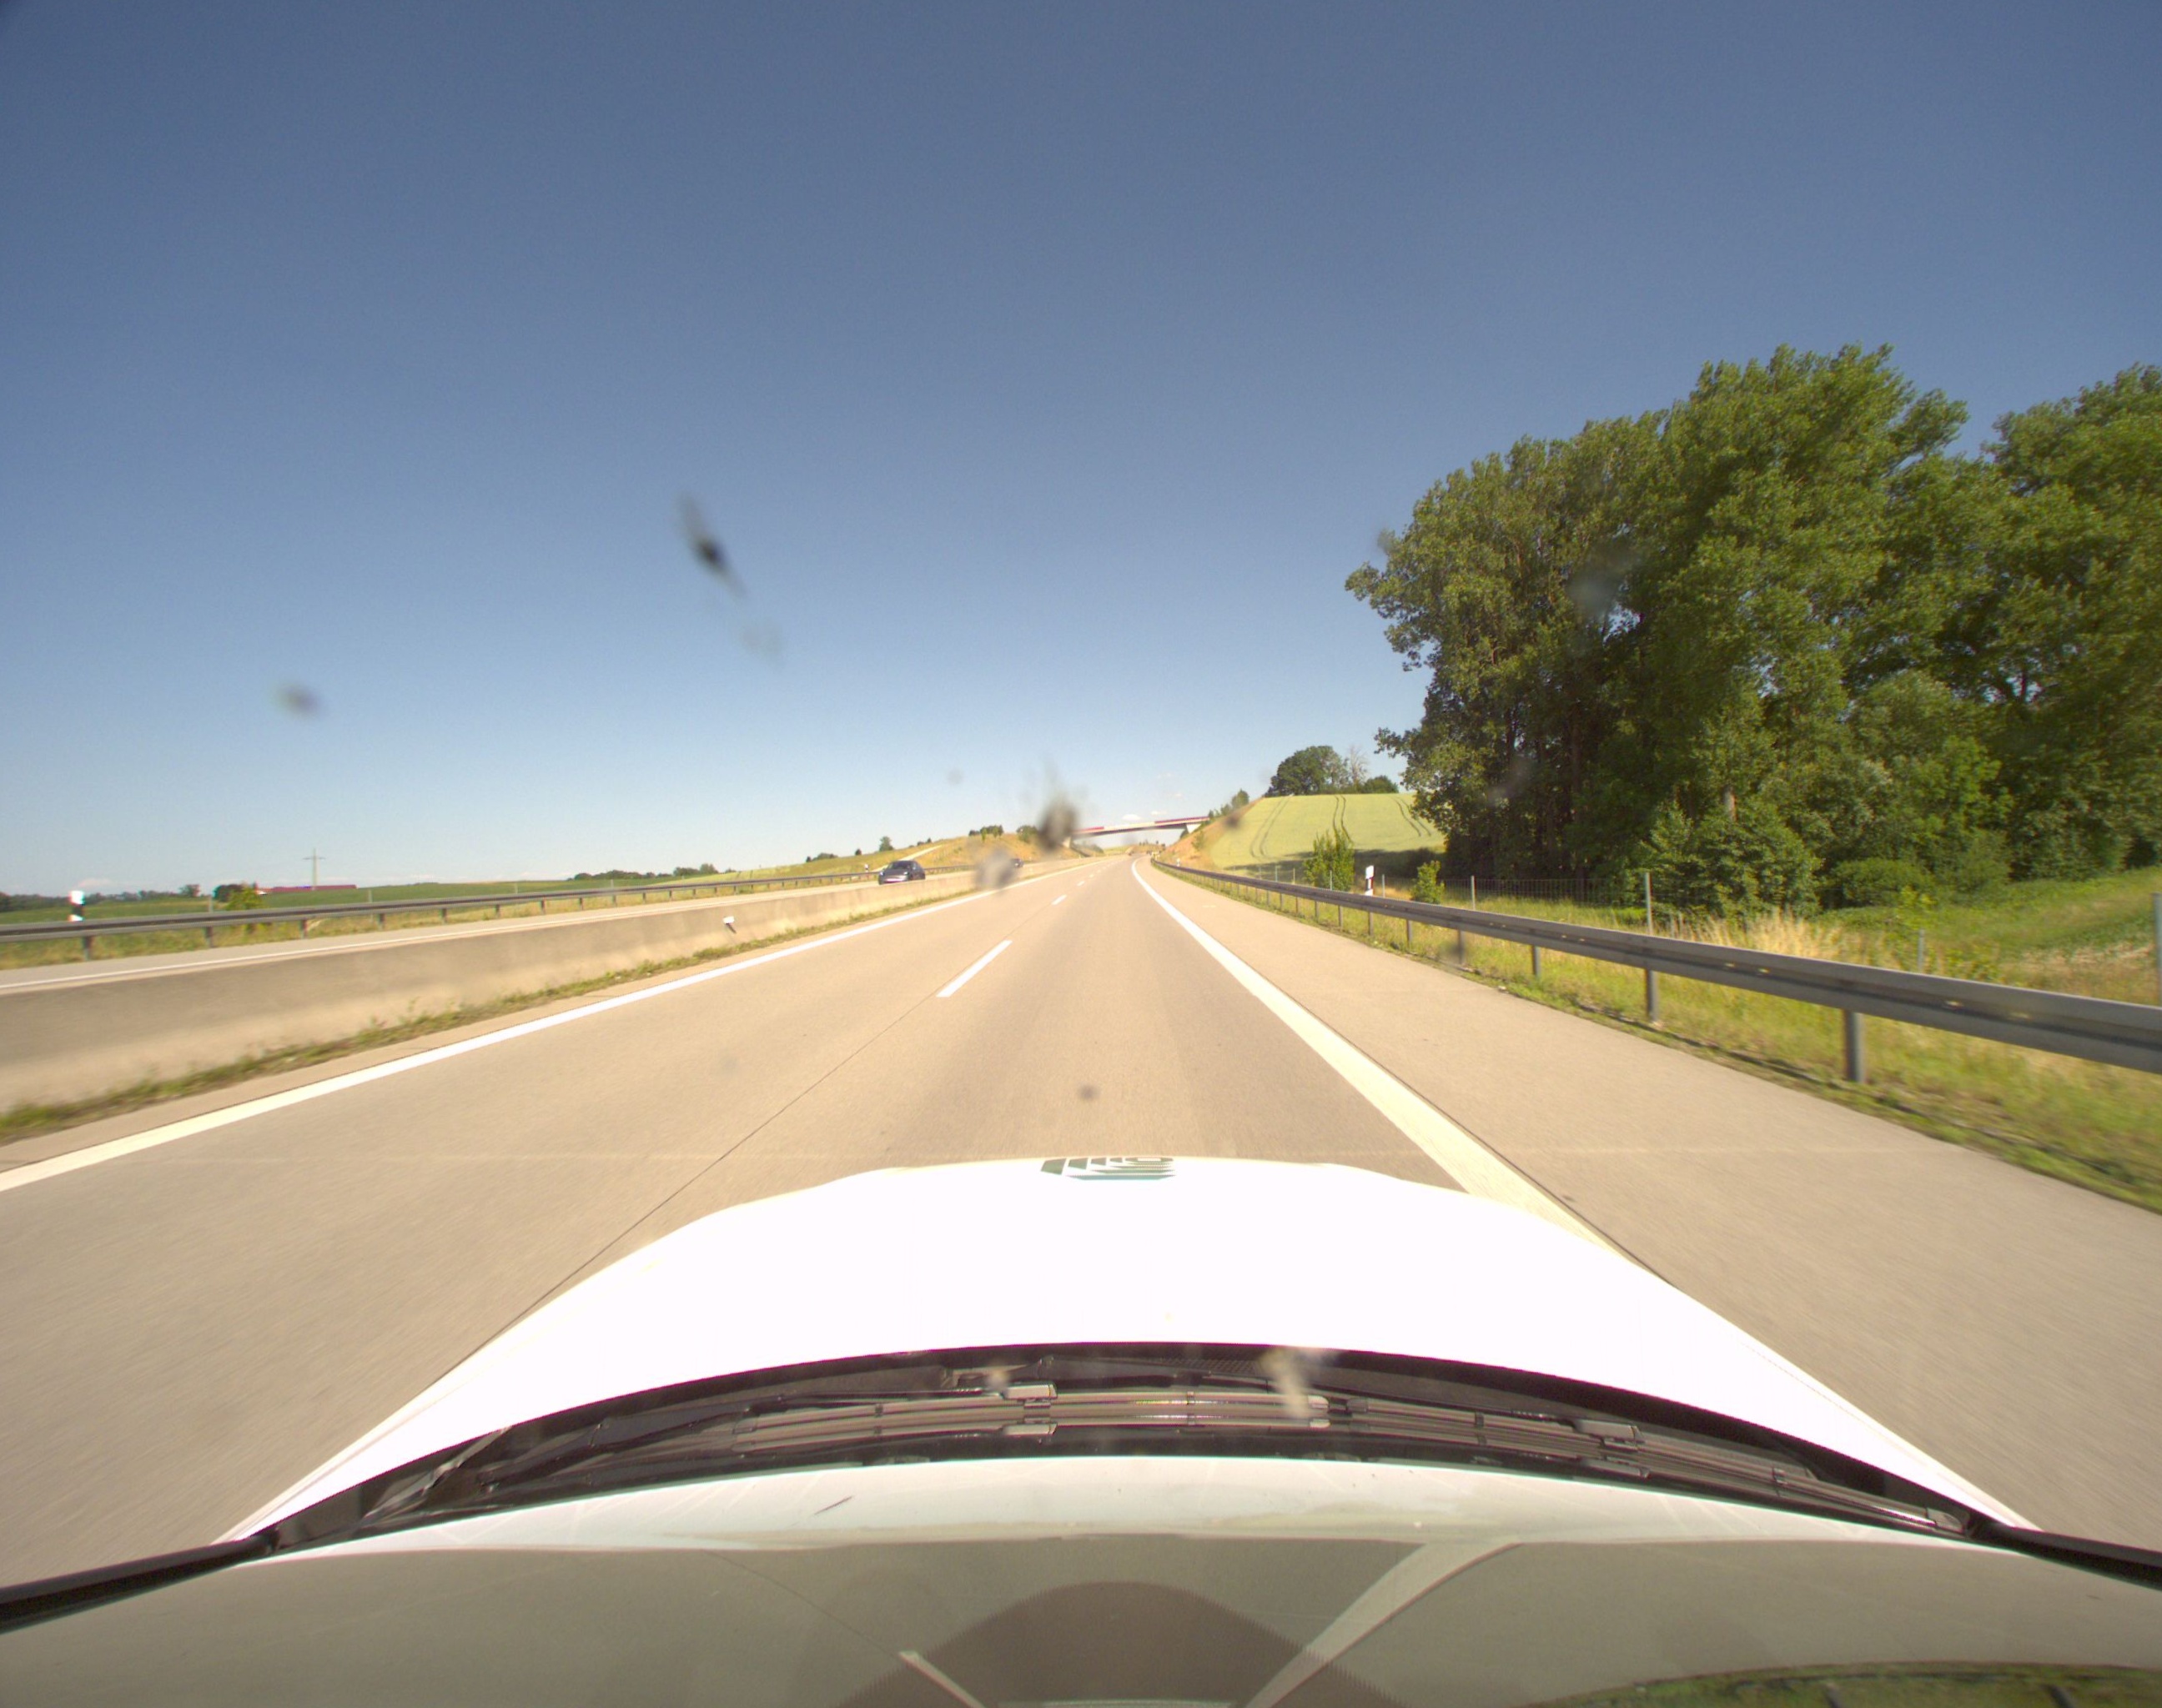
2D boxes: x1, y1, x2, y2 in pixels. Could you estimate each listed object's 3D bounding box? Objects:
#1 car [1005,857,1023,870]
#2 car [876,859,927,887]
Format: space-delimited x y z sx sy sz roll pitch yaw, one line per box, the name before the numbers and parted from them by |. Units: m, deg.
car | -9.064 1.291 110.638 1.805 1.615 4.680 0 -1 3
car | -10.977 1.169 50.150 1.805 1.615 4.680 0 -1 3
